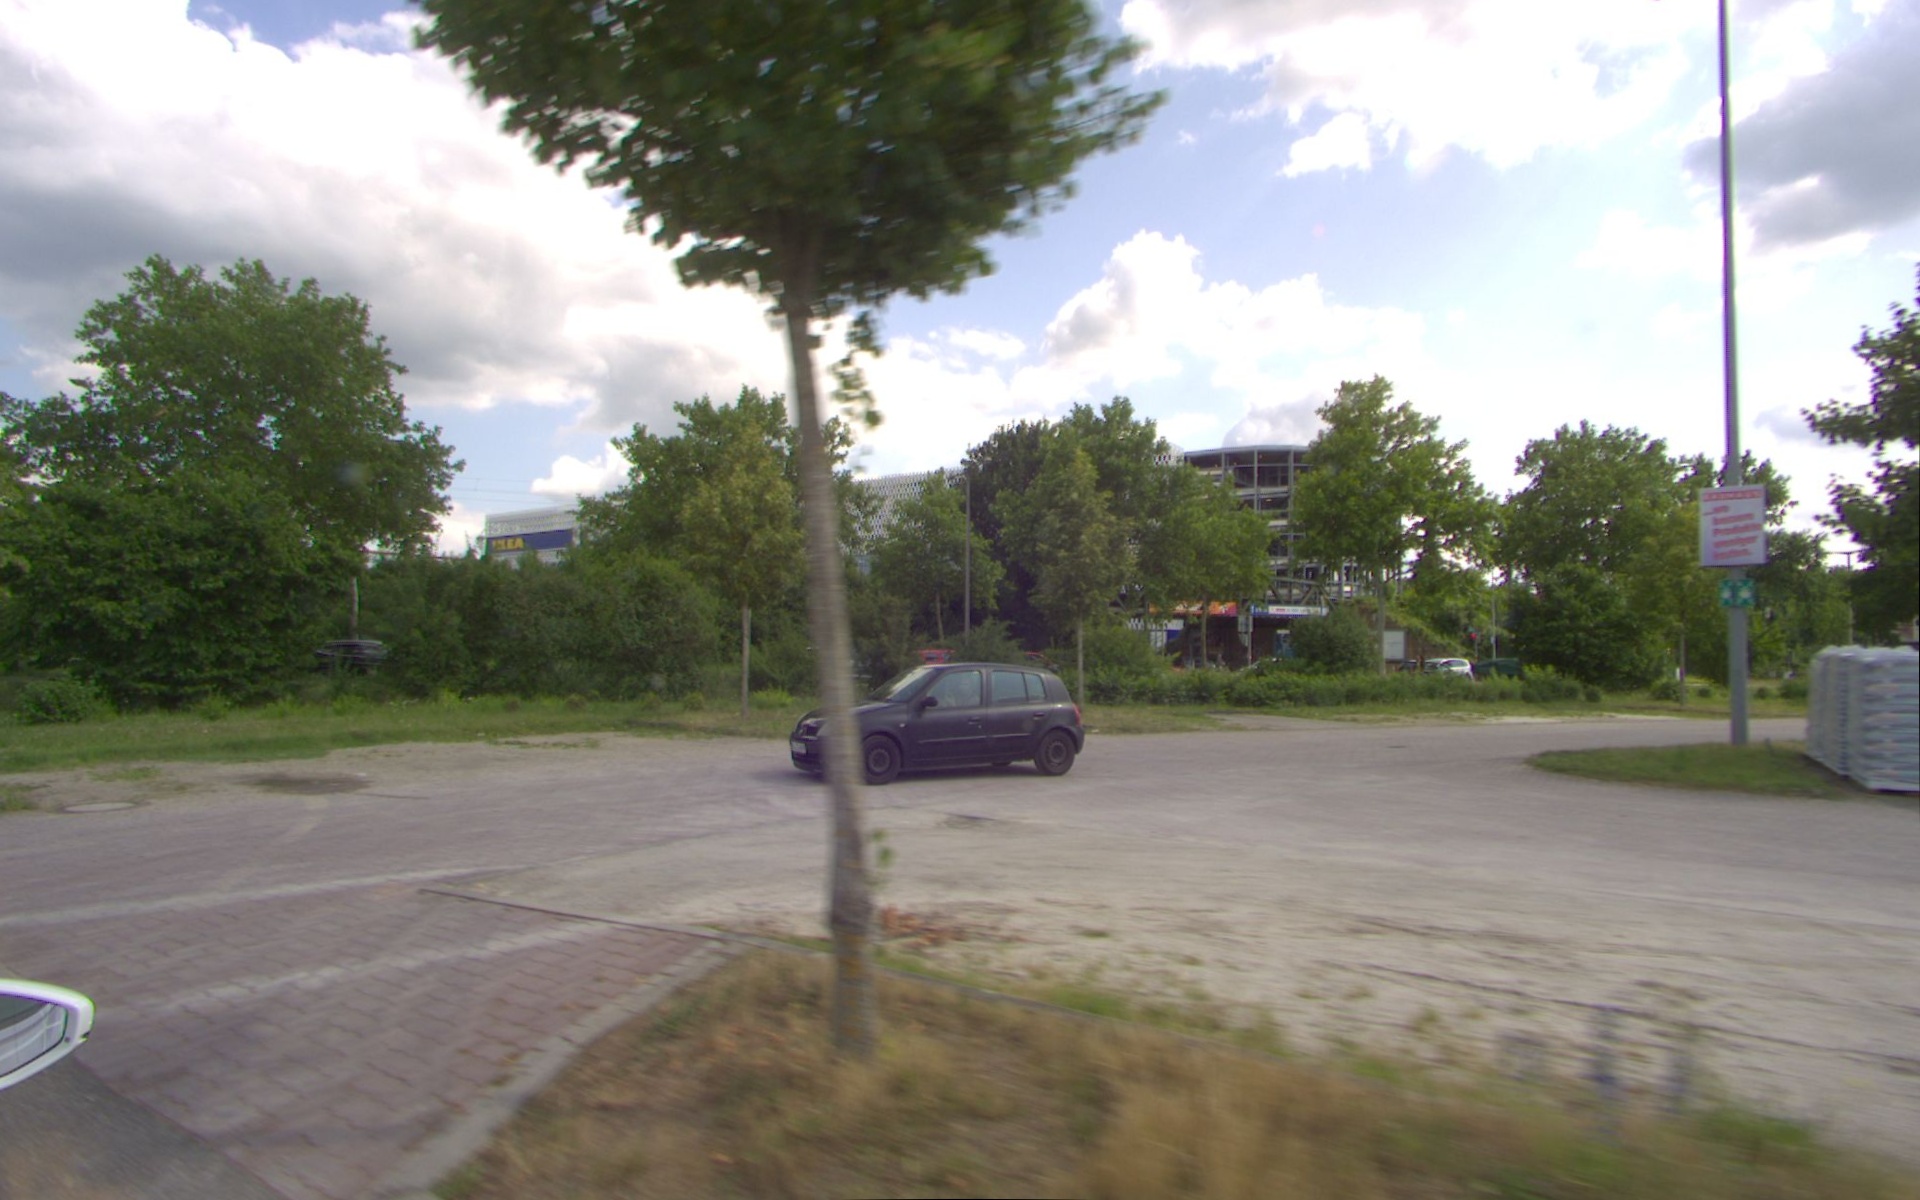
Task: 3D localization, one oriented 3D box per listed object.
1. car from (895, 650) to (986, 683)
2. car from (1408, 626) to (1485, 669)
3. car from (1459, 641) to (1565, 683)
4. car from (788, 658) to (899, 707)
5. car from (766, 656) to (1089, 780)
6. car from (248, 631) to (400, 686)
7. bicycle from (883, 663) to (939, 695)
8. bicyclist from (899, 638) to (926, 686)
[{"bbox_3d":[-1.054,3.533,53.563,4.515,1.690,1.997,1,-2,-18],"label":"car"},{"bbox_3d":[29.612,2.921,60.983,4.084,2.573,1.734,1,-4,-18],"label":"car"},{"bbox_3d":[30.195,3.371,54.767,5.305,2.038,2.244,-1,-4,-25],"label":"car"},{"bbox_3d":[-4.665,3.288,39.950,3.936,1.736,1.995,-1,-4,-24],"label":"car"},{"bbox_3d":[-0.380,1.384,12.534,3.730,1.337,1.605,2,-3,-28],"label":"car"},{"bbox_3d":[-20.937,1.932,33.181,3.937,1.737,1.994,2,-2,-24],"label":"car"},{"bbox_3d":[-1.677,2.700,34.174,1.840,1.050,0.527,1,-4,-22],"label":"bicycle"},{"bbox_3d":[-1.629,2.121,34.253,0.749,1.611,0.635,1,-4,-22],"label":"bicyclist"}]
